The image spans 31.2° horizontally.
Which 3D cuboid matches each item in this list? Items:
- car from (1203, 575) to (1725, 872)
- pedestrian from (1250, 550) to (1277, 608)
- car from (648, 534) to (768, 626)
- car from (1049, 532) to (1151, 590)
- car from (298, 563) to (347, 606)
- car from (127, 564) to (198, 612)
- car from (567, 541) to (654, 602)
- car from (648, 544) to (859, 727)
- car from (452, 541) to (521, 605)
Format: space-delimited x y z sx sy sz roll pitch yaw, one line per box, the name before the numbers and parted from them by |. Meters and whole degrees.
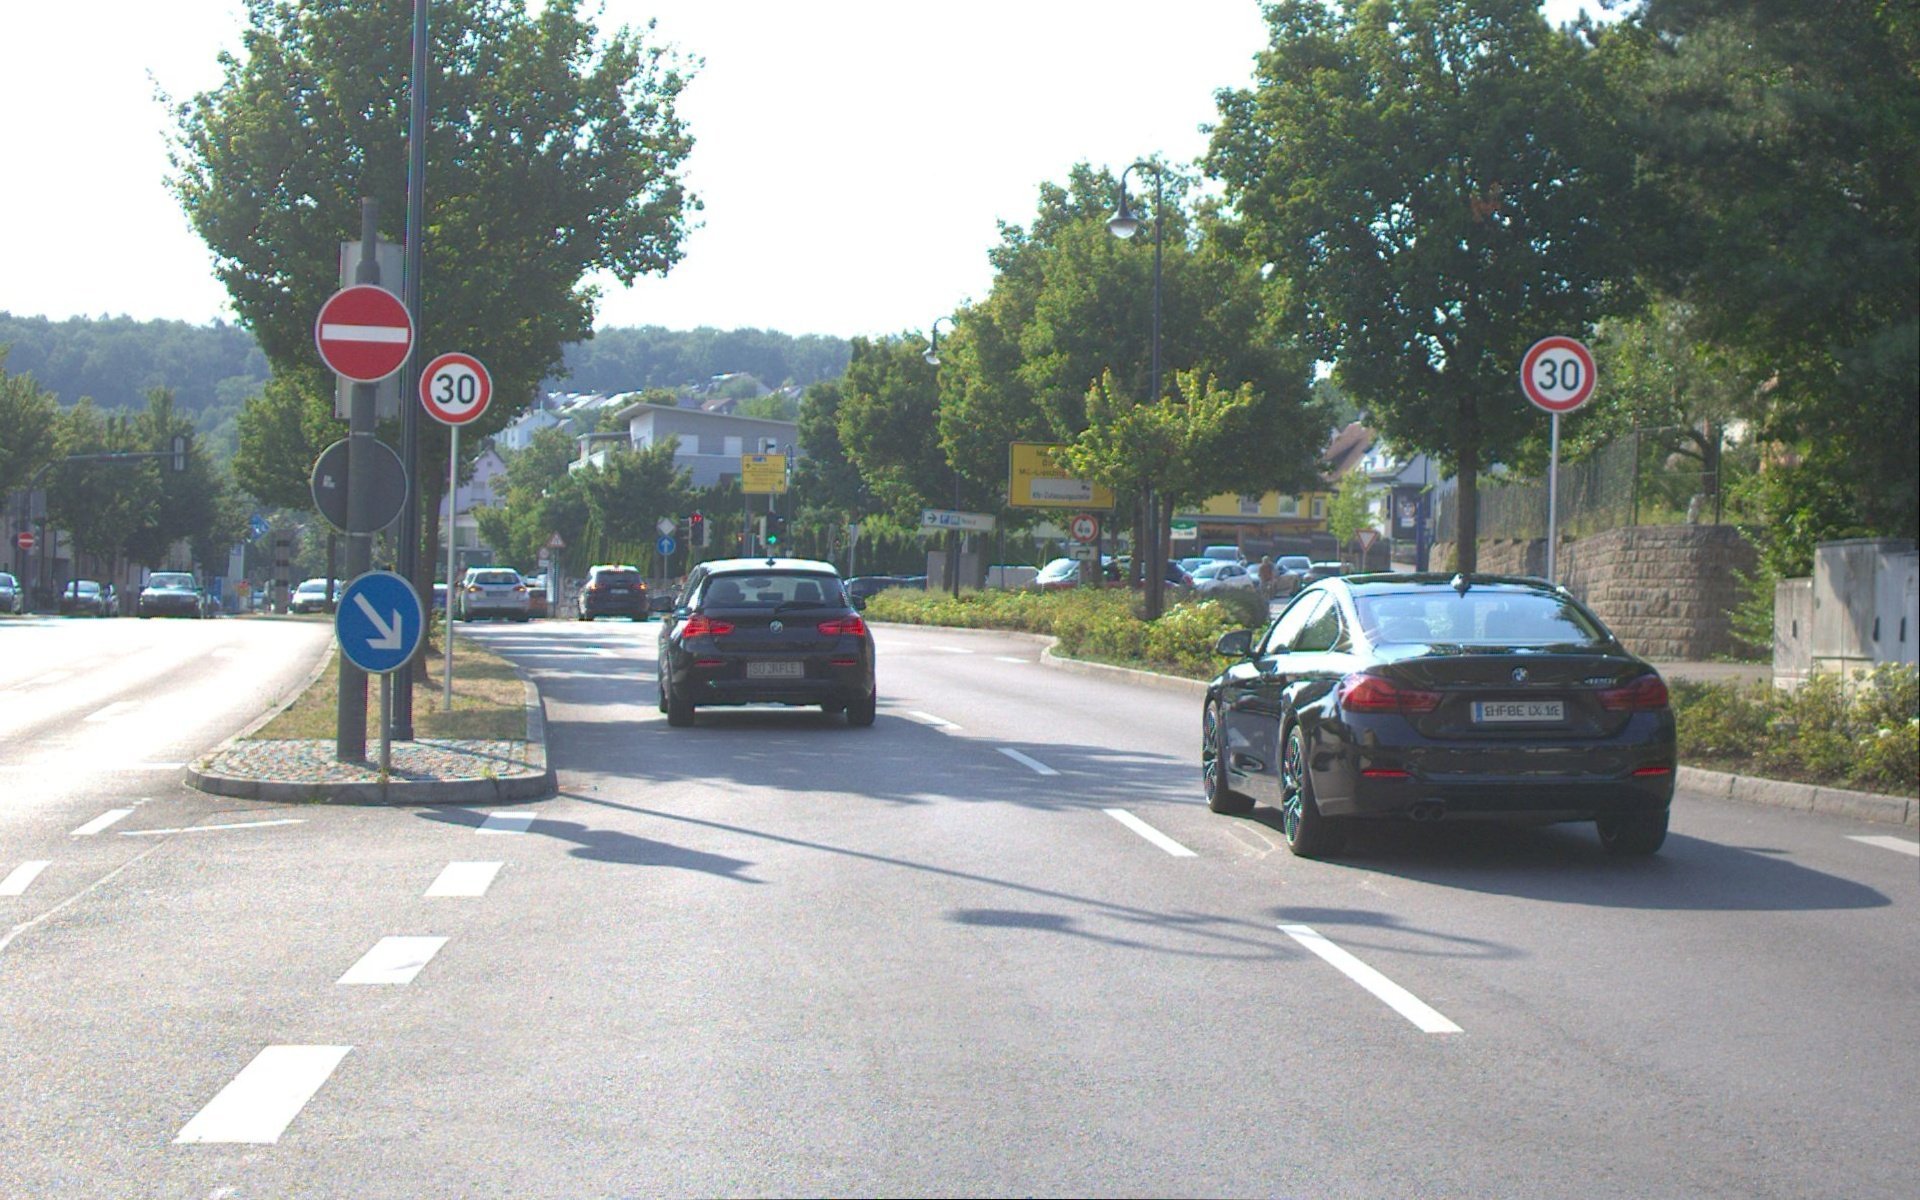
car | 2.466 0.553 17.936 1.920 1.359 4.353 0 0 -2
pedestrian | 8.947 -0.617 101.412 0.695 1.697 0.950 0 1 -1
car | -5.060 -0.418 68.626 1.924 1.763 4.455 0 1 -10
car | 5.296 -1.468 129.473 2.142 2.123 5.119 1 1 23
car | -25.178 -0.614 135.825 1.729 1.673 4.001 0 1 -8
car | -23.249 -0.370 100.335 1.755 1.356 4.486 0 1 -10
car | -10.351 -0.852 101.456 2.216 1.763 4.455 0 1 -10
car | -1.816 0.266 30.686 1.721 1.485 4.353 1 1 -3
car | -13.249 -0.763 96.072 1.755 1.763 3.972 0 1 -10
